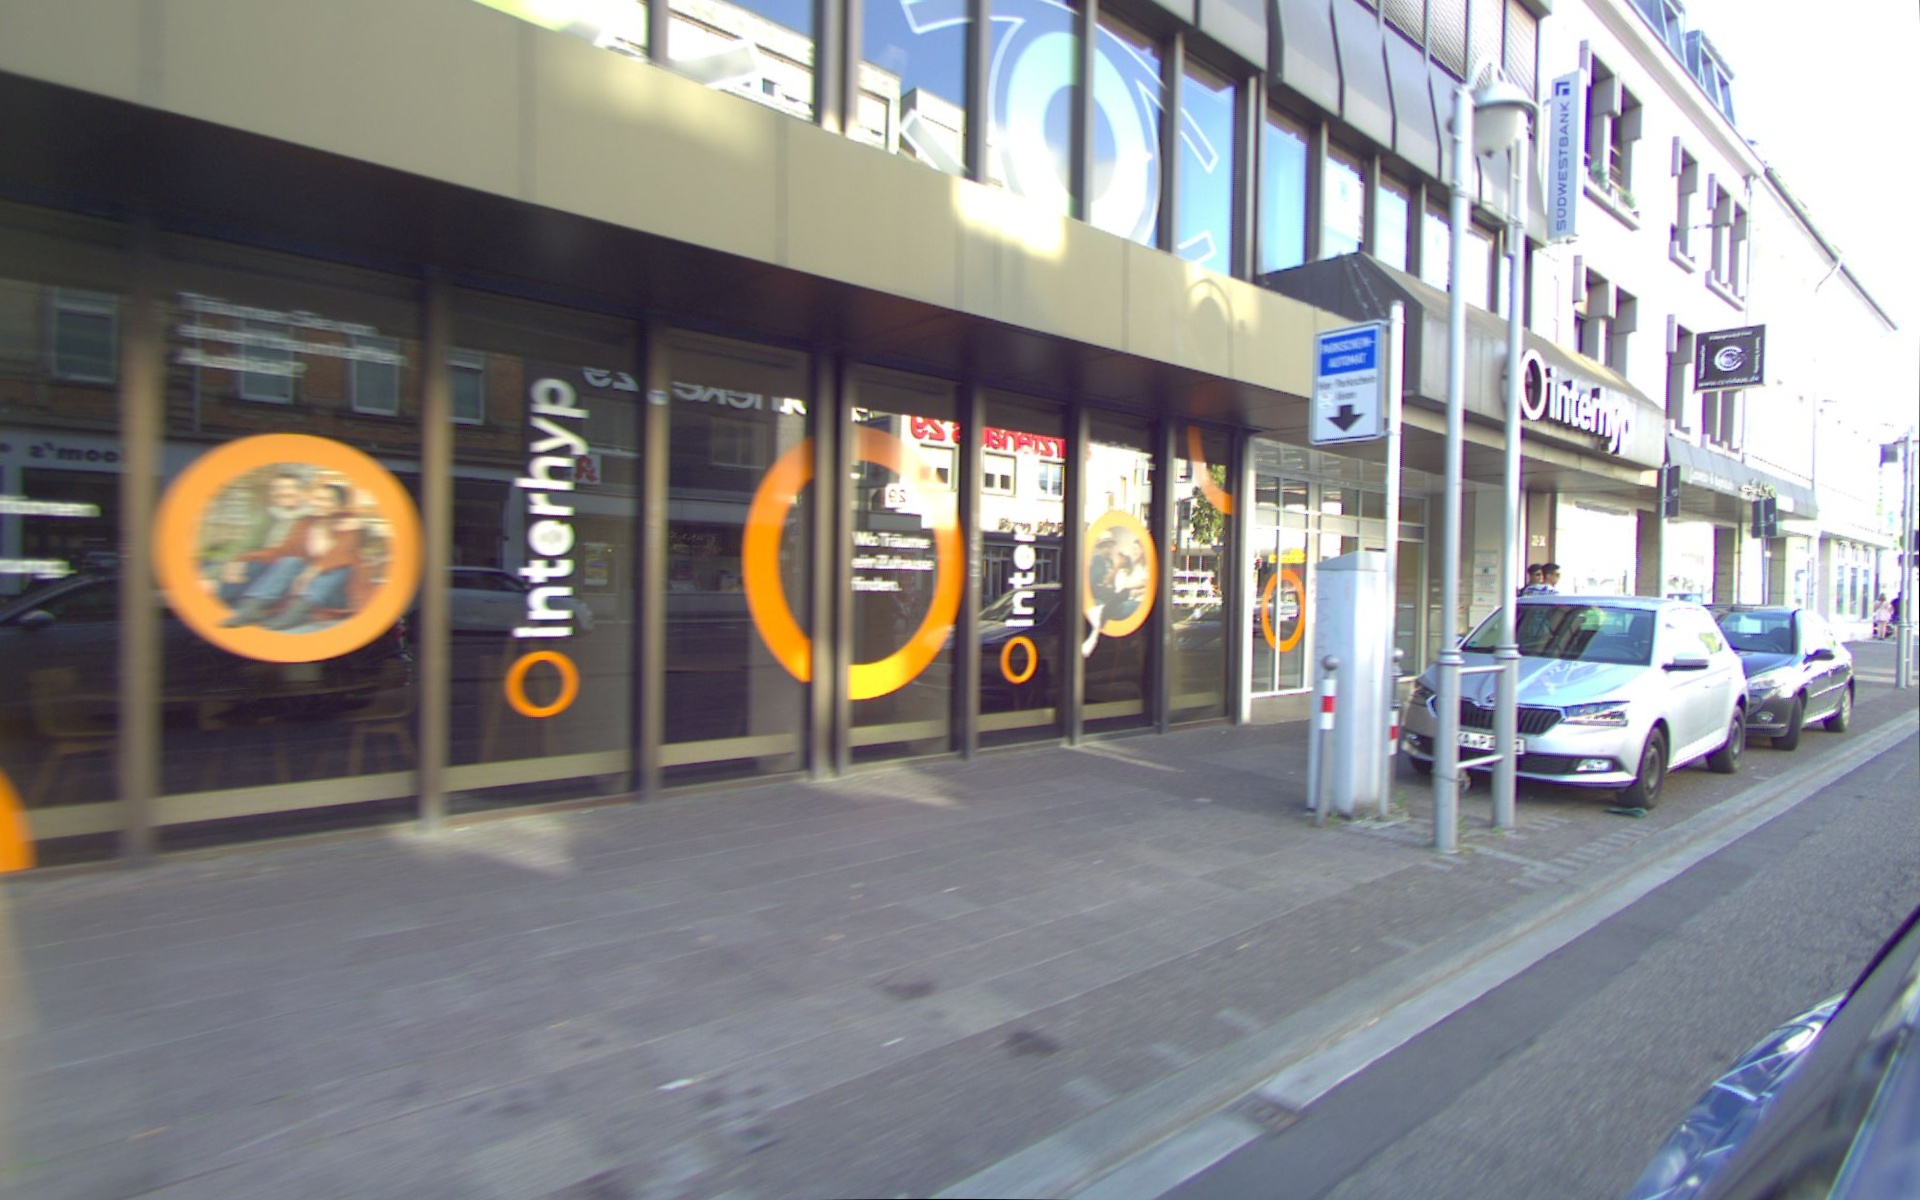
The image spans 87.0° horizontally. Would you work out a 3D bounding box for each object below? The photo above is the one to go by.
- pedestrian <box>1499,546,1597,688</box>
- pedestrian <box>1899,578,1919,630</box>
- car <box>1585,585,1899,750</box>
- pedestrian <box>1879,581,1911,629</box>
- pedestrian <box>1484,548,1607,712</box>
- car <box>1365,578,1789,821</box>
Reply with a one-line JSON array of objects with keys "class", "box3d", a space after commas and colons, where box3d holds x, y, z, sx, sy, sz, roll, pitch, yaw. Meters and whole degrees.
[{"class": "pedestrian", "box3d": [7.688, 0.198, 13.234, 1.013, 1.774, 0.781, 0, 1, -39]}, {"class": "pedestrian", "box3d": [35.164, 0.140, 37.205, 0.628, 1.865, 0.683, 1, 1, -16]}, {"class": "car", "box3d": [8.948, 0.607, 11.466, 4.224, 1.480, 1.853, 0, 2, -39]}, {"class": "pedestrian", "box3d": [34.816, 0.182, 37.692, 0.562, 1.781, 0.651, 0, 1, -16]}, {"class": "pedestrian", "box3d": [7.085, 0.328, 12.260, 0.981, 1.865, 0.925, 0, 3, -39]}, {"class": "car", "box3d": [5.217, 0.591, 8.319, 4.220, 1.480, 1.749, 0, 2, -41]}]
